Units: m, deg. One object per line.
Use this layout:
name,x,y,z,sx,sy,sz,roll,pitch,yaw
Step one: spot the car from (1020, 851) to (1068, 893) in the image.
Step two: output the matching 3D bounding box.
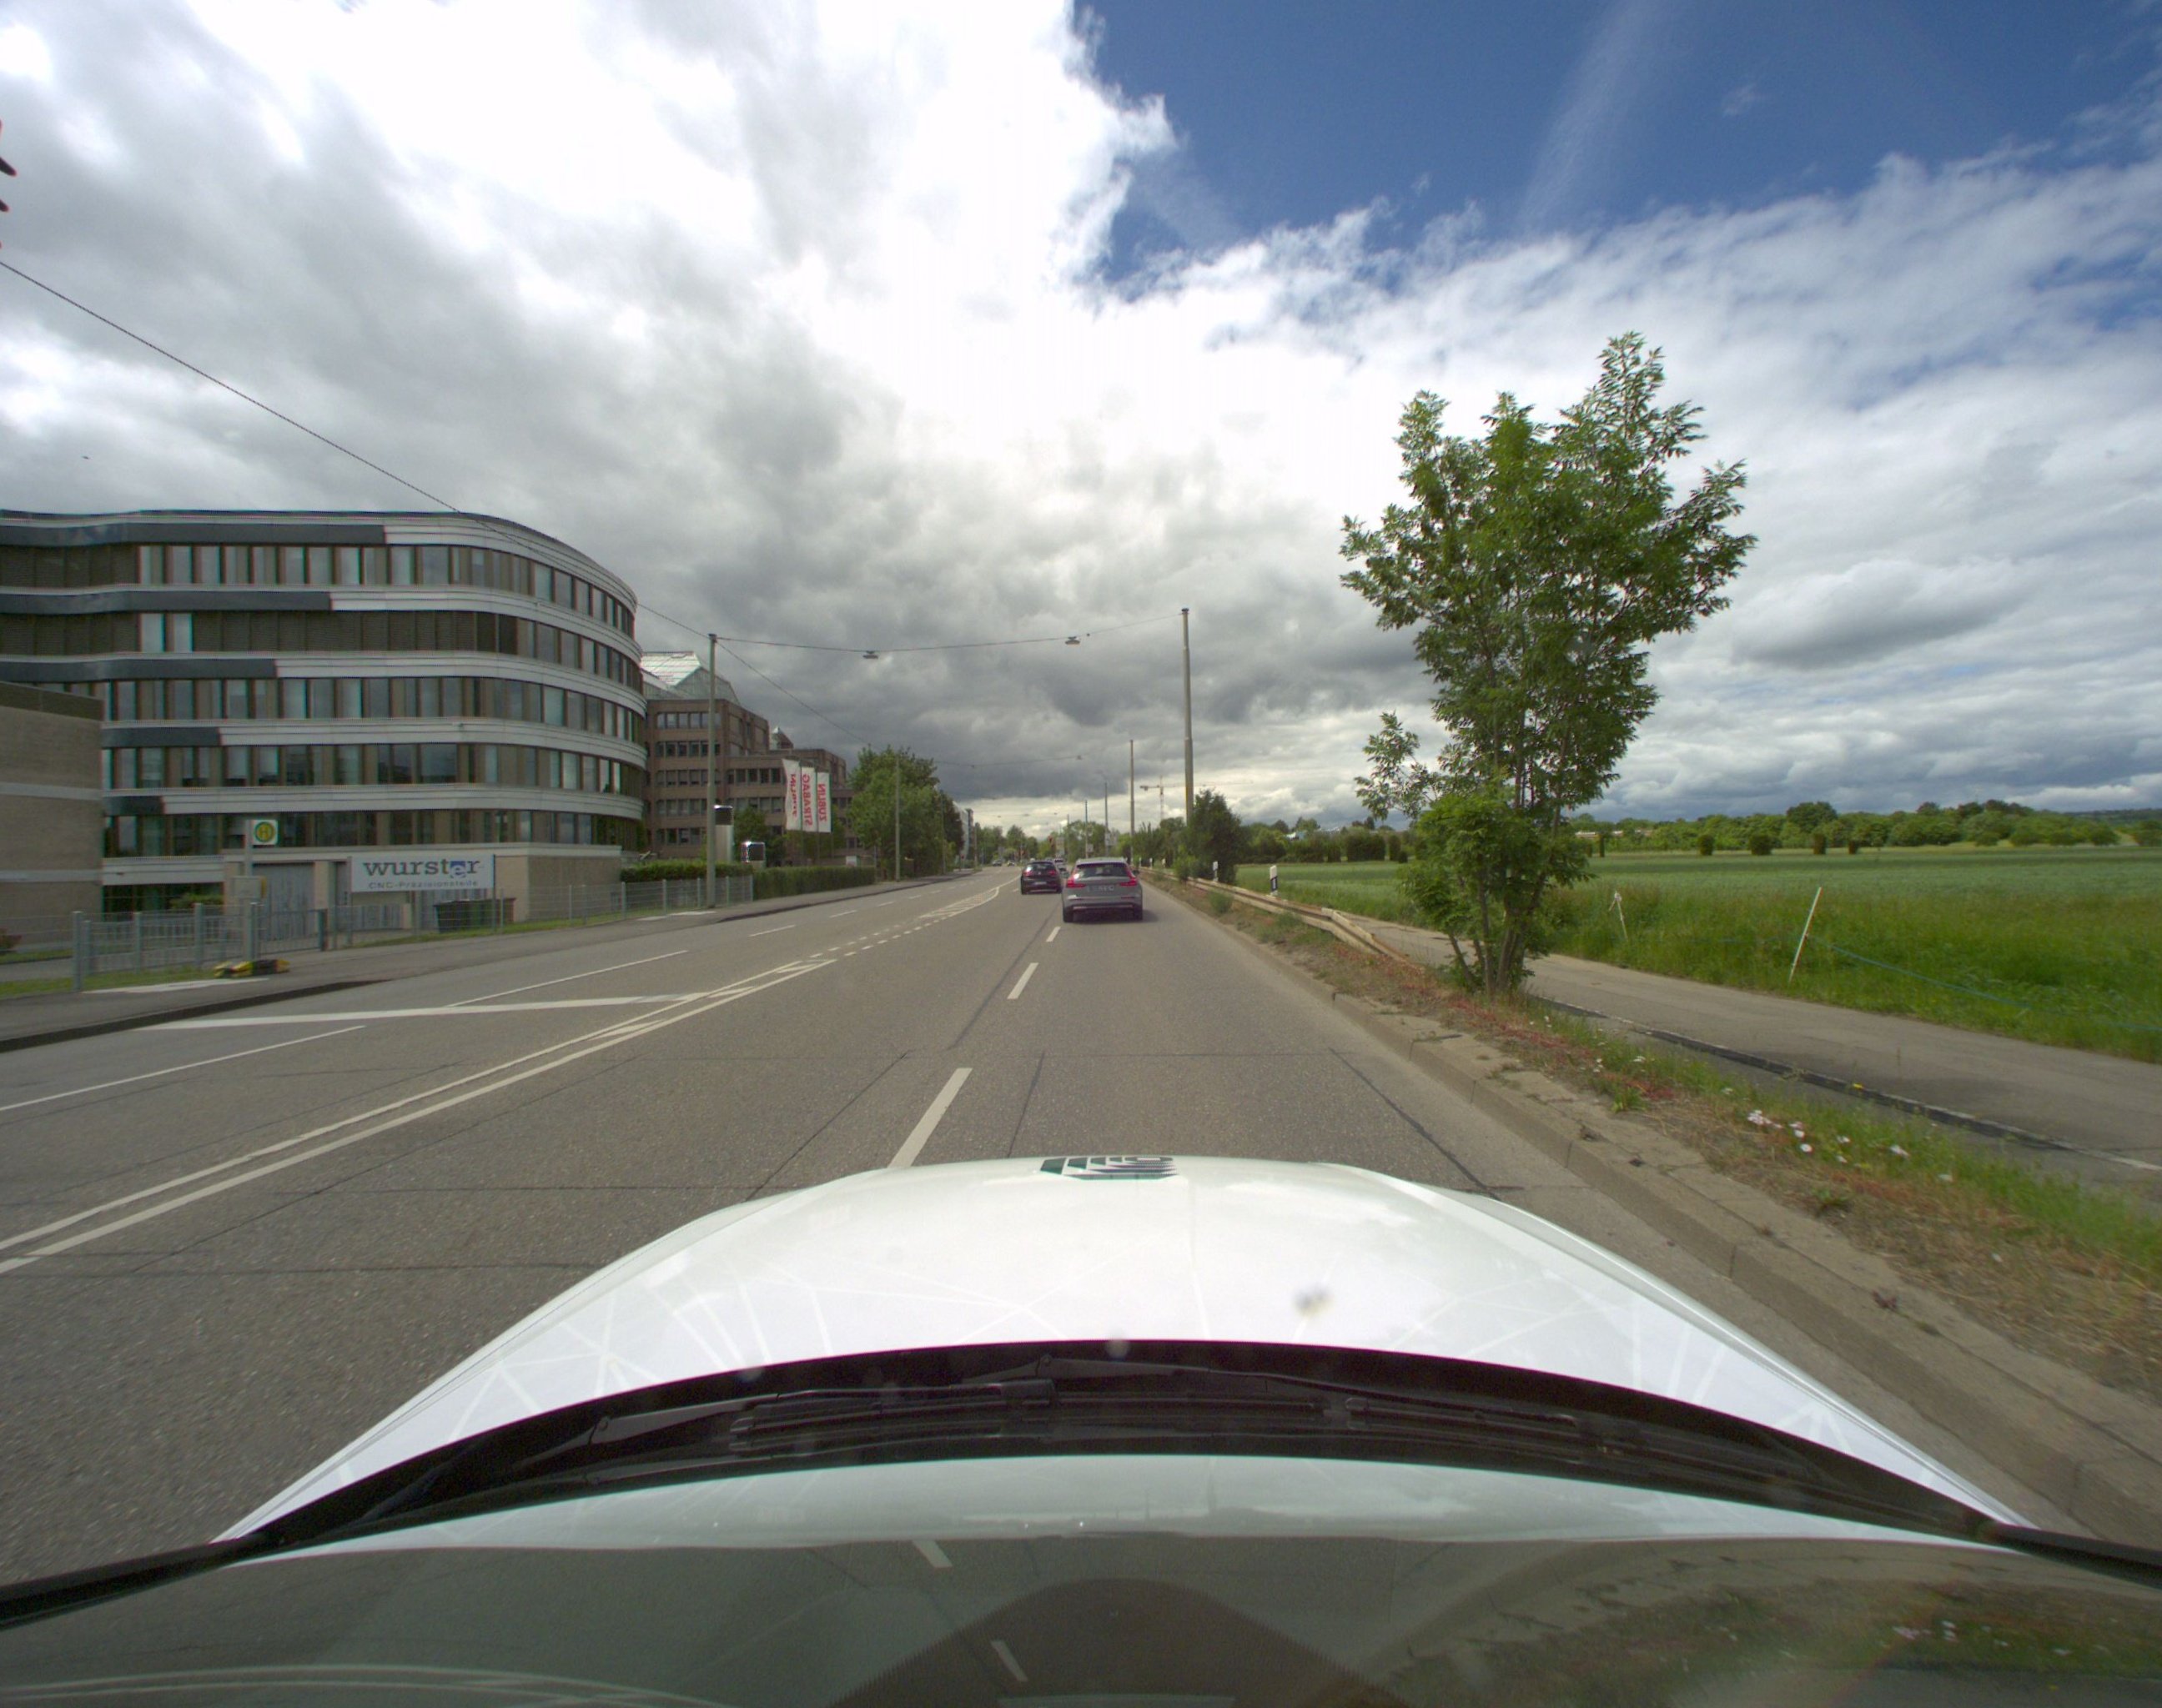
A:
car,-1.568,0.790,35.822,1.988,1.717,3.997,1,-1,-1

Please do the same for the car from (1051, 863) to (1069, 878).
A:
car,-2.432,1.898,94.636,1.987,1.695,3.999,1,-1,0

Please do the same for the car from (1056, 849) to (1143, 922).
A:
car,0.487,0.740,19.905,1.888,1.554,4.002,-1,-1,2

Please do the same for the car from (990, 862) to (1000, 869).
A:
car,-20.826,2.742,197.733,1.876,1.717,3.998,1,-1,-1

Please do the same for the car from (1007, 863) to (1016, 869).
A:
car,-16.712,2.846,196.012,1.876,1.520,3.998,1,-1,-1

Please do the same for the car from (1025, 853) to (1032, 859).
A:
car,-16.345,0.620,253.017,1.945,1.750,4.382,1,-1,-4

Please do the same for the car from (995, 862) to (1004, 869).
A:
car,-21.543,3.054,214.722,1.876,1.717,3.998,1,-1,-1
